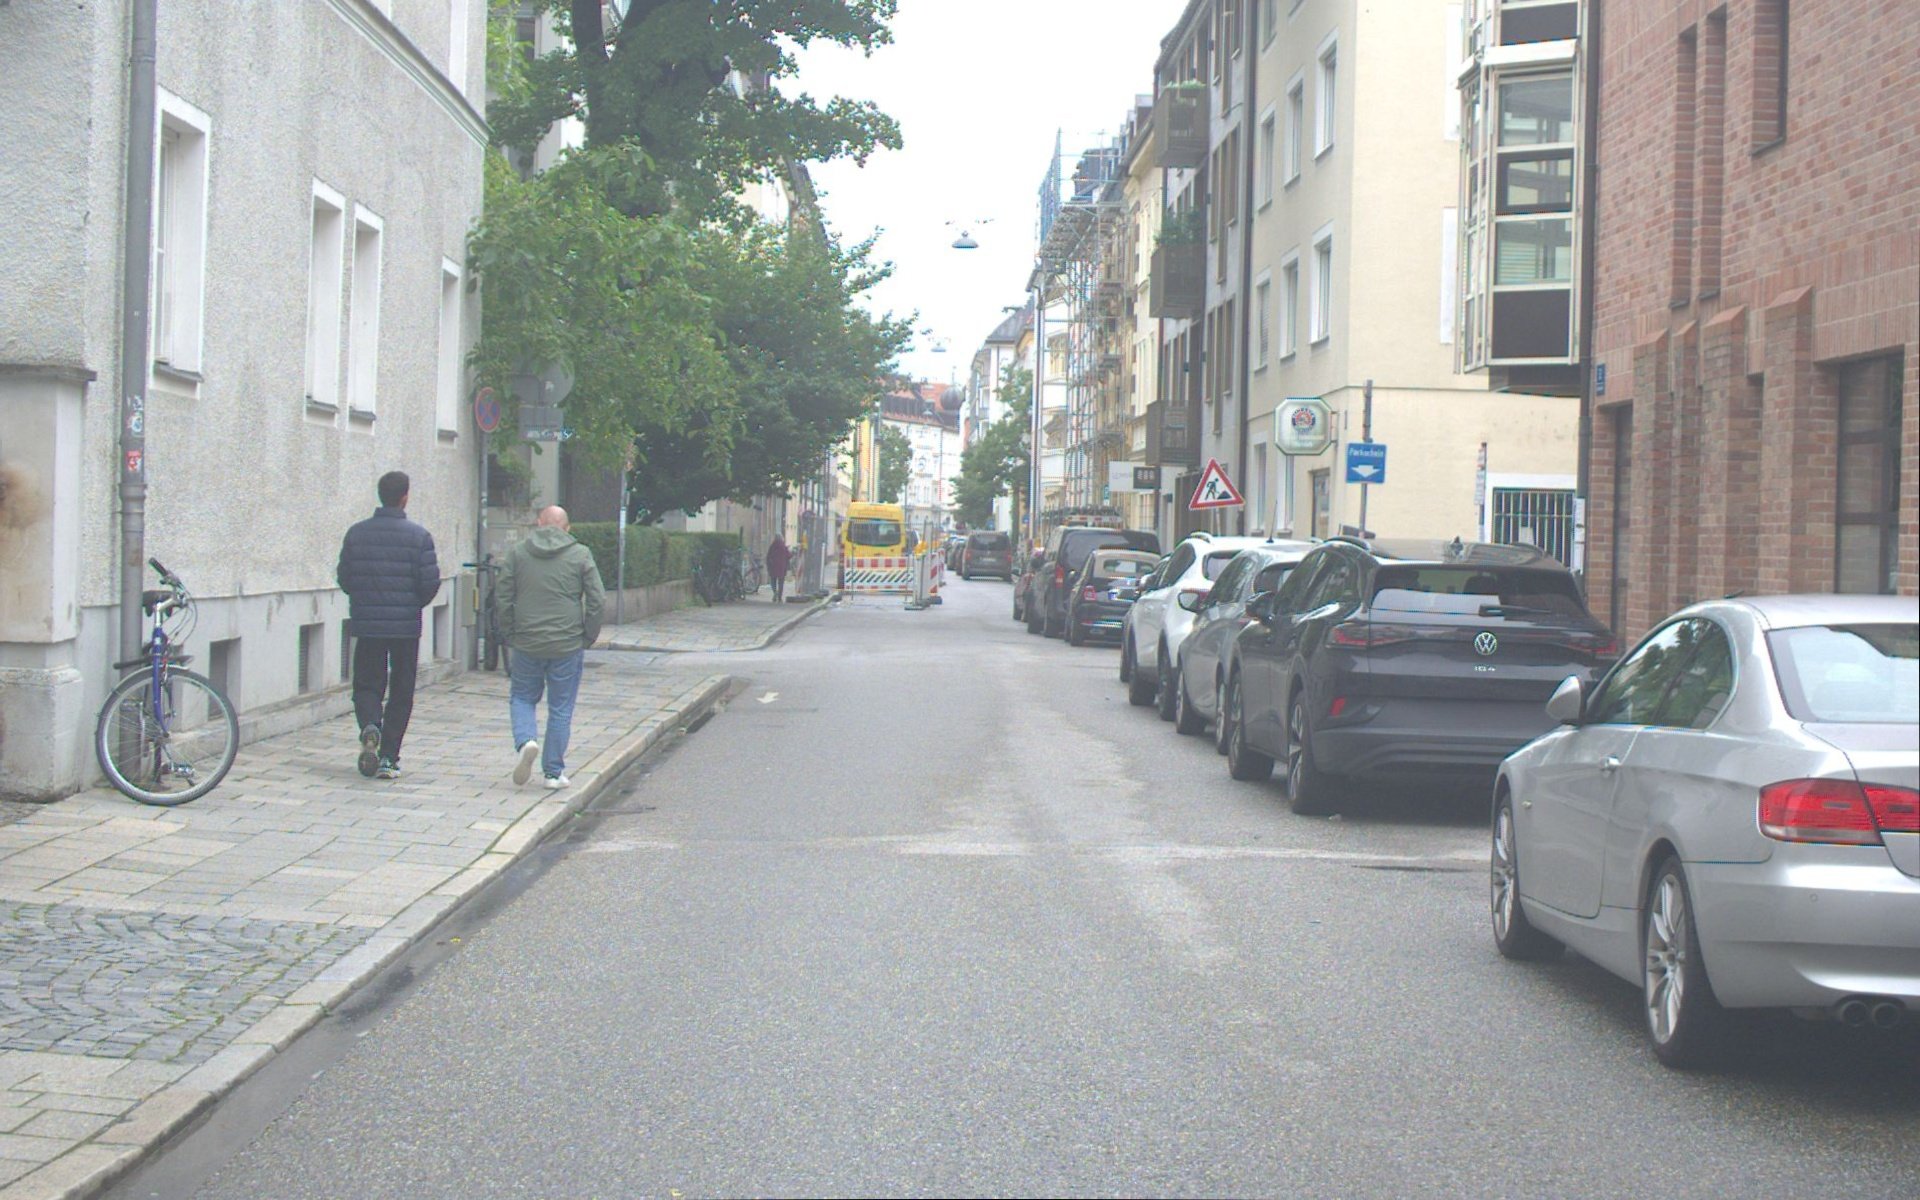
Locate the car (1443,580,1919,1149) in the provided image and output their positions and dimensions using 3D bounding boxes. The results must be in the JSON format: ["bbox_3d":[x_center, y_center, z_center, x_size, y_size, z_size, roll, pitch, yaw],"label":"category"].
[{"bbox_3d":[2.920,0.702,11.301,1.836,1.412,4.601,2,1,-2],"label":"car"}]

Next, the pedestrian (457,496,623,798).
[{"bbox_3d":[-2.398,0.259,19.714,0.753,1.653,0.906,3,0,-1],"label":"pedestrian"}]

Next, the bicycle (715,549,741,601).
[{"bbox_3d":[-4.814,-0.525,71.362,0.446,1.069,2.468,0,1,-2],"label":"bicycle"}]

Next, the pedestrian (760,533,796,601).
[{"bbox_3d":[-4.053,-0.735,76.747,0.756,1.486,0.831,1,0,0],"label":"pedestrian"}]

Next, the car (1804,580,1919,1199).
[{"bbox_3d":[3.110,0.745,6.702,1.745,1.457,4.151,2,1,-2],"label":"car"}]

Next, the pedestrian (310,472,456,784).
[{"bbox_3d":[-3.272,0.152,19.566,0.612,1.707,0.823,3,0,-1],"label":"pedestrian"}]

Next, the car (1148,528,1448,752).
[{"bbox_3d":[2.584,0.275,27.129,1.721,1.630,3.882,0,1,-4],"label":"car"}]

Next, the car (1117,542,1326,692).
[{"bbox_3d":[2.713,0.141,36.438,1.744,1.440,4.001,2,1,-2],"label":"car"}]

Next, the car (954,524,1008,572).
[{"bbox_3d":[0.818,-2.053,135.544,1.801,1.706,3.827,5,1,-2],"label":"car"}]

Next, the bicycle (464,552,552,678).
[{"bbox_3d":[-4.210,0.126,31.949,0.473,1.107,1.761,2,1,-18],"label":"bicycle"}]

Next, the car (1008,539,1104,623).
[{"bbox_3d":[1.909,-0.406,69.508,1.635,1.509,3.829,5,1,-1],"label":"car"}]

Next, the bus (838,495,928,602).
[{"bbox_3d":[-2.283,-1.522,103.346,2.592,3.091,6.306,1,1,0],"label":"bus"}]

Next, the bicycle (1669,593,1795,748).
[{"bbox_3d":[5.681,0.502,25.366,0.559,1.075,1.472,2,1,0],"label":"bicycle"}]

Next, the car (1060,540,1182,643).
[{"bbox_3d":[2.461,-0.163,53.267,1.624,1.482,3.808,2,1,0],"label":"car"}]

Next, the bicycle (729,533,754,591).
[{"bbox_3d":[-5.344,-0.934,84.160,0.514,1.413,1.934,1,1,-1],"label":"bicycle"}]

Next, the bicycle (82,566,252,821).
[{"bbox_3d":[-4.017,0.440,17.341,0.641,1.213,1.665,0,1,-20],"label":"bicycle"}]

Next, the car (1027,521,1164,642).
[{"bbox_3d":[2.237,-0.340,57.625,1.801,1.814,4.001,5,1,-3],"label":"car"}]

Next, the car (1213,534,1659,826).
[{"bbox_3d":[2.789,0.400,21.146,1.885,1.550,4.392,2,1,-3],"label":"car"}]

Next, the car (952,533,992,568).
[{"bbox_3d":[0.567,-2.370,163.694,1.801,1.608,4.000,2,1,0],"label":"car"}]

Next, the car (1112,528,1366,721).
[{"bbox_3d":[2.475,0.167,31.452,1.748,1.624,4.197,1,1,-3],"label":"car"}]
